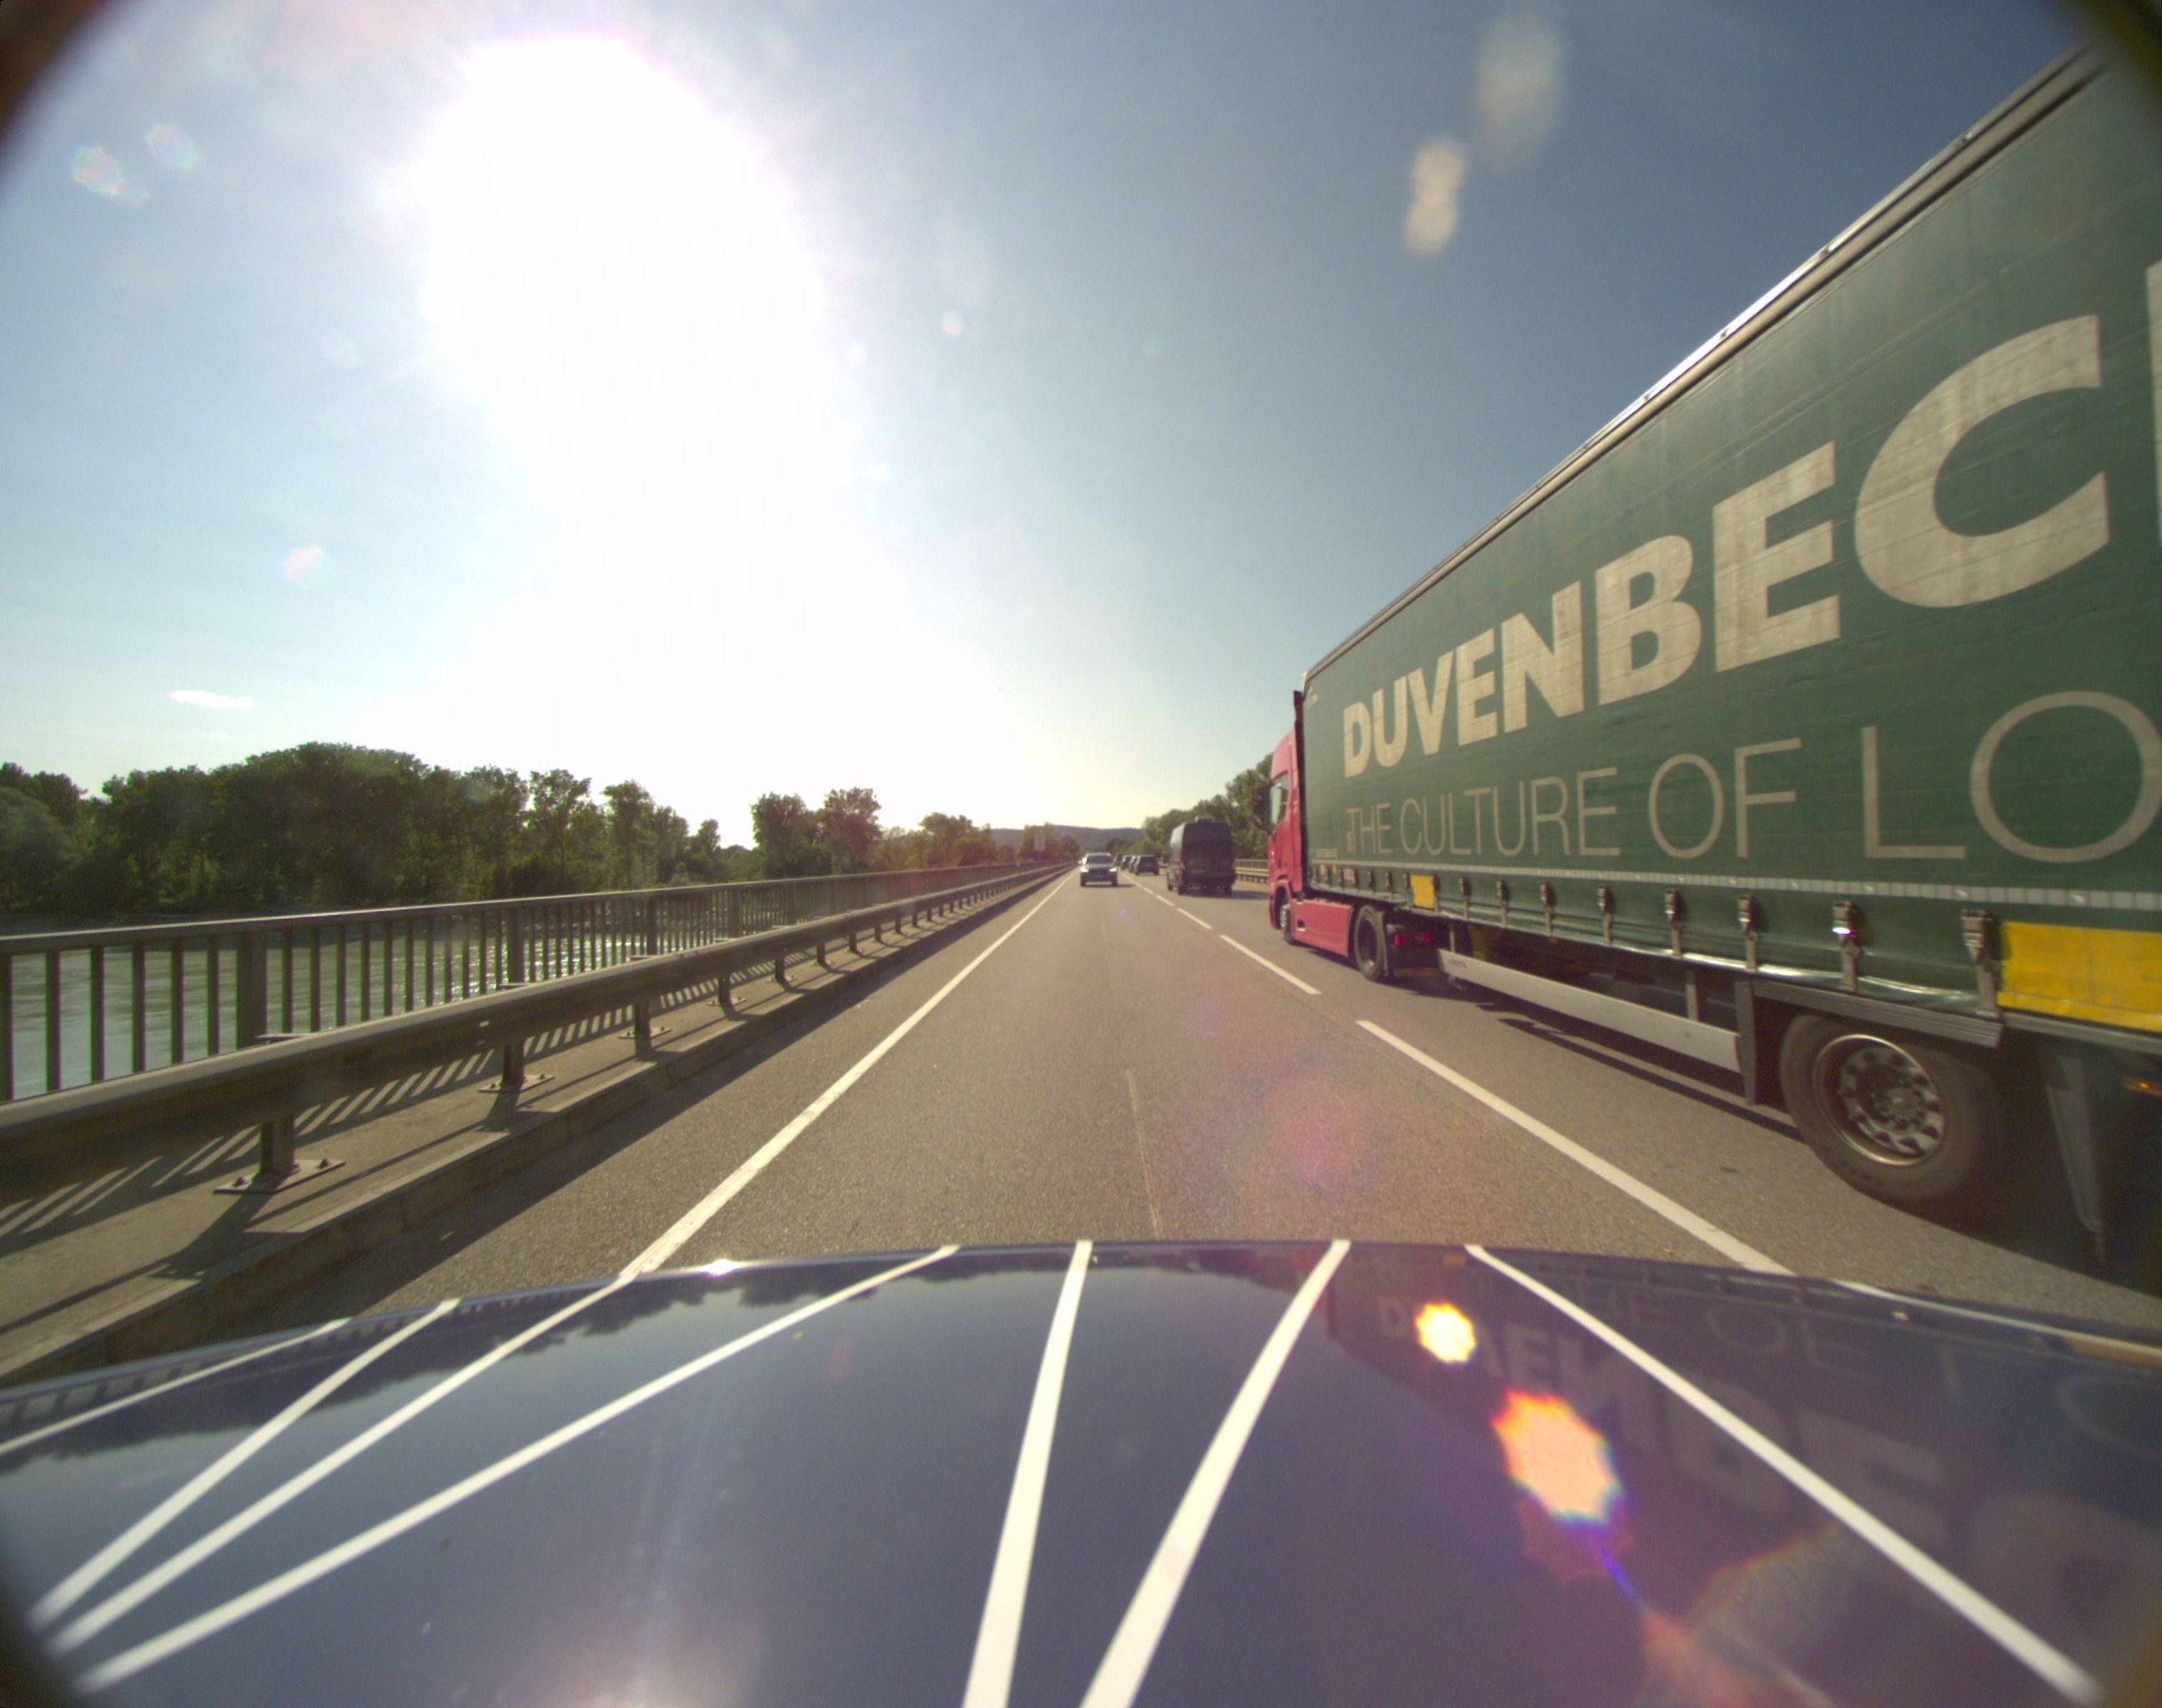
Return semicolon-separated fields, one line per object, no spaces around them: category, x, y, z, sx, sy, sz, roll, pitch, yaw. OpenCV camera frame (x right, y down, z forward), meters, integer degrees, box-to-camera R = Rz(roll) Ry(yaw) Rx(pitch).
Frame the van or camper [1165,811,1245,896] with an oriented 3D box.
van or camper;4.858;-0.011;30.926;2.321;3.033;6.818;-1;0;2

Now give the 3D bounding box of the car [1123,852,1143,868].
car;5.976;0.657;87.564;2.058;1.643;4.721;-3;0;2

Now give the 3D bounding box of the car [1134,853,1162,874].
car;5.381;0.739;61.276;1.879;1.574;4.274;-1;0;1

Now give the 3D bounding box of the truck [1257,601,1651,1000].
truck;4.618;-0.555;10.923;2.915;4.160;5.713;-1;0;2

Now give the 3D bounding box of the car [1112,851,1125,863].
car;5.674;0.420;115.494;1.859;1.712;4.566;-1;0;2

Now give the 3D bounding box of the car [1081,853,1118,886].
car;1.004;0.788;40.616;1.871;1.598;4.380;-1;0;2

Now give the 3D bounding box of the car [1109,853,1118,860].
car;6.666;0.481;157.146;1.770;1.439;4.456;-1;0;1

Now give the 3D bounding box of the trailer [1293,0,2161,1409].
trailer;4.488;-0.603;3.836;2.915;4.277;14.301;-2;0;1

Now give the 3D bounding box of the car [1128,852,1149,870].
car;5.417;0.659;72.197;1.810;1.568;4.201;-1;0;3
